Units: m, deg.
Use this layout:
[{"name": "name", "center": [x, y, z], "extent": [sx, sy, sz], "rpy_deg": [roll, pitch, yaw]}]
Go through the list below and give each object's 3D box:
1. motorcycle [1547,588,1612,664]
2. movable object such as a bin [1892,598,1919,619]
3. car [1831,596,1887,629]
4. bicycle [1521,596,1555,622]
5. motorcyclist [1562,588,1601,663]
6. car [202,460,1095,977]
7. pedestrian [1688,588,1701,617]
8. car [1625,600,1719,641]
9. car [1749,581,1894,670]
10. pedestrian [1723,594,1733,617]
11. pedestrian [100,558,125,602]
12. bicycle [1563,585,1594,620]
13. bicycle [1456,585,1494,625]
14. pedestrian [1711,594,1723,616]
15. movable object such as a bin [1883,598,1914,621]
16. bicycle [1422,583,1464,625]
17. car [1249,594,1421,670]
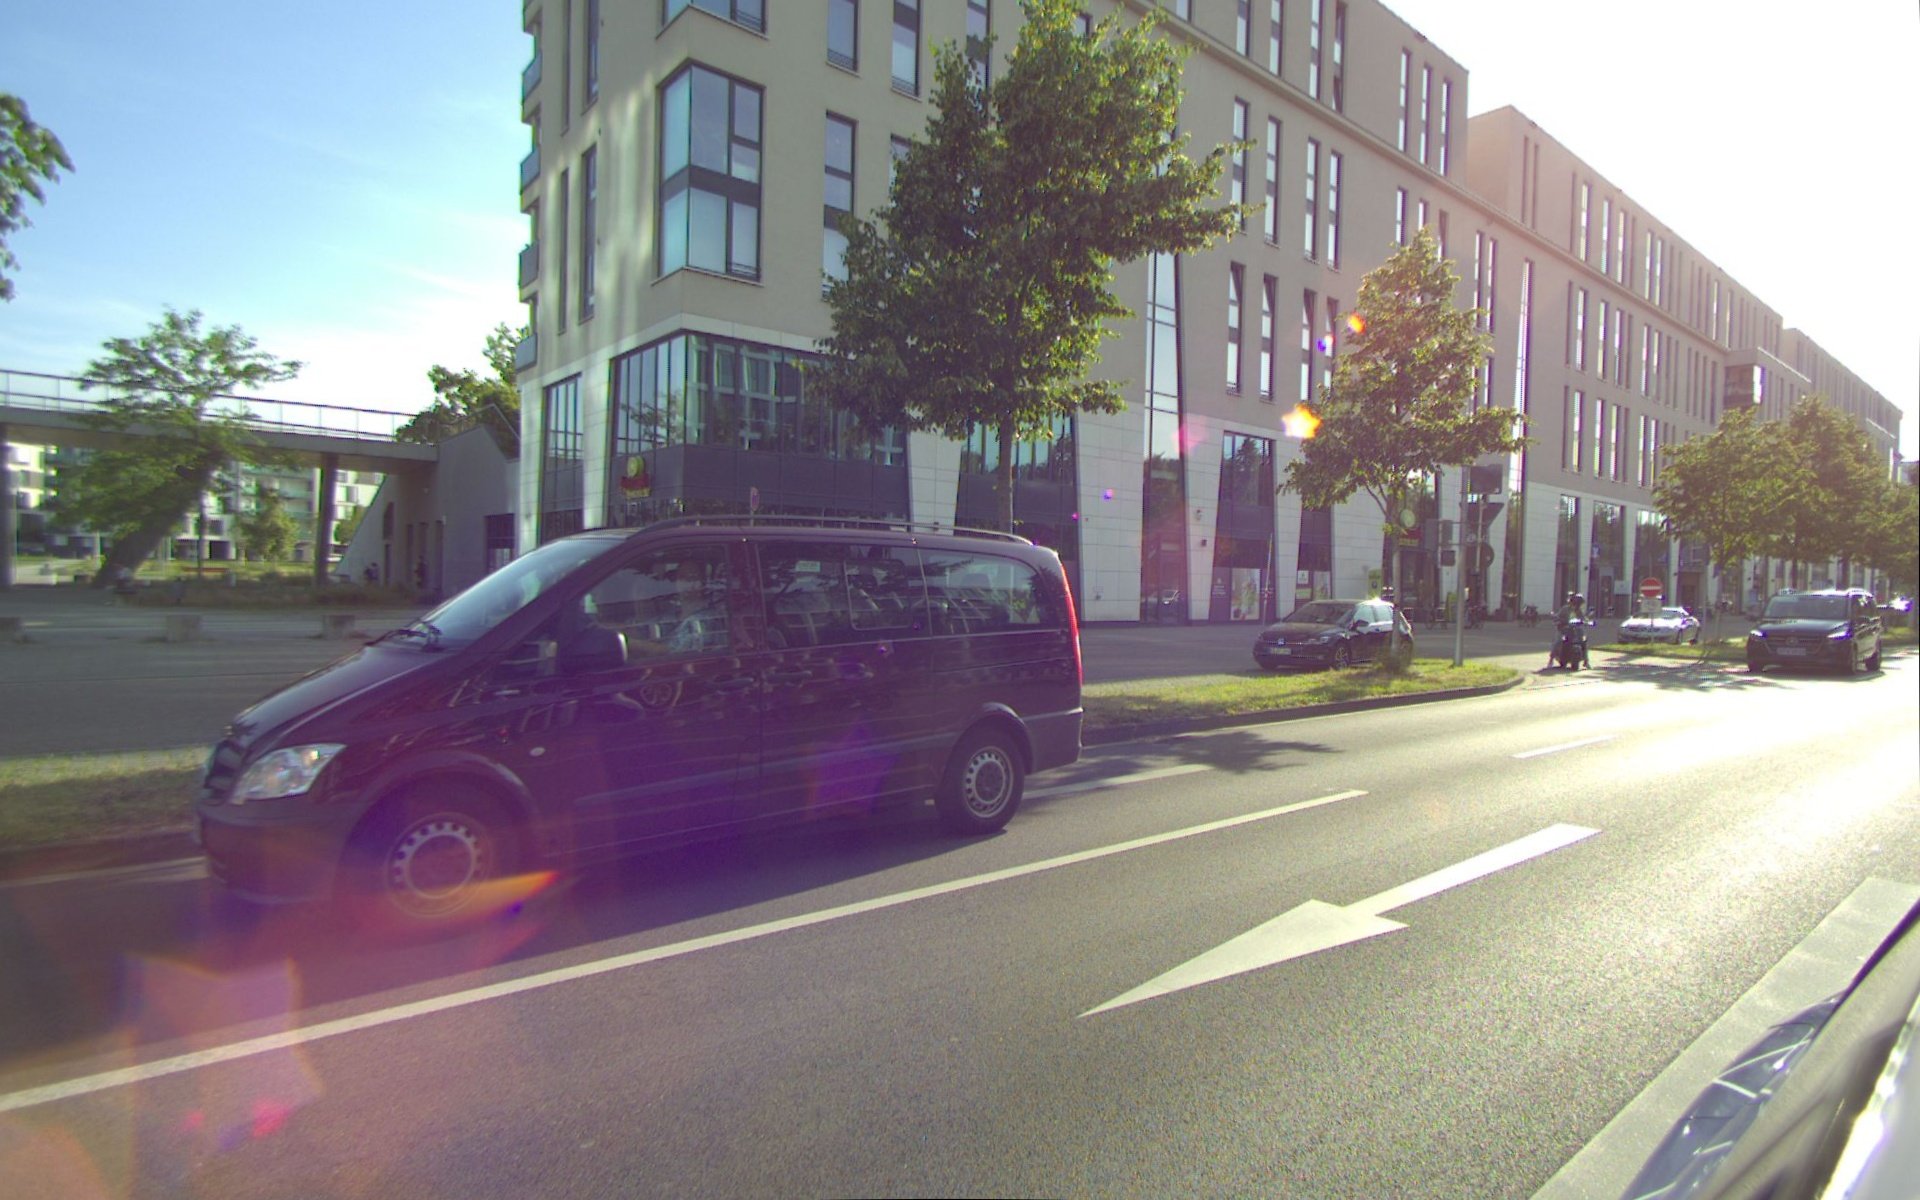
[{"name": "motorcycle", "center": [13.997, 0.544, 22.846], "extent": [1.977, 1.638, 0.702], "rpy_deg": [-1, 0, -42]}, {"name": "movable object such as a bin", "center": [57.796, 0.527, 61.764], "extent": [1.171, 1.252, 1.278], "rpy_deg": [0, 0, -43]}, {"name": "car", "center": [48.933, 0.640, 55.051], "extent": [4.222, 1.733, 1.830], "rpy_deg": [-1, 0, -42]}, {"name": "bicycle", "center": [25.730, 0.379, 45.041], "extent": [1.870, 1.097, 0.635], "rpy_deg": [0, 2, -39]}, {"name": "motorcyclist", "center": [14.062, 0.559, 22.895], "extent": [0.411, 1.660, 0.624], "rpy_deg": [0, 2, -43]}, {"name": "car", "center": [-1.472, 0.413, 5.977], "extent": [4.736, 1.915, 1.802], "rpy_deg": [-1, 0, -40]}, {"name": "pedestrian", "center": [45.861, 0.150, 63.196], "extent": [0.635, 1.785, 0.538], "rpy_deg": [0, 0, -39]}, {"name": "car", "center": [23.909, 0.656, 33.947], "extent": [3.837, 1.258, 1.711], "rpy_deg": [-1, 0, -41]}, {"name": "car", "center": [20.270, 0.510, 23.734], "extent": [4.694, 1.890, 1.863], "rpy_deg": [-1, 0, -40]}, {"name": "pedestrian", "center": [54.011, 0.361, 71.143], "extent": [0.536, 1.594, 0.508], "rpy_deg": [0, 0, 36]}, {"name": "pedestrian", "center": [-25.696, -0.599, 30.681], "extent": [0.571, 1.310, 0.597], "rpy_deg": [0, 0, -39]}, {"name": "bicycle", "center": [29.390, 0.113, 48.102], "extent": [2.173, 1.639, 0.556], "rpy_deg": [-1, 0, -39]}, {"name": "bicycle", "center": [20.895, 0.183, 41.063], "extent": [2.173, 1.587, 0.556], "rpy_deg": [-1, 0, -39]}, {"name": "pedestrian", "center": [53.509, 0.378, 71.542], "extent": [0.587, 1.541, 0.514], "rpy_deg": [0, 0, -40]}, {"name": "movable object such as a bin", "center": [55.751, 0.552, 60.141], "extent": [1.158, 1.307, 1.278], "rpy_deg": [0, 0, -43]}, {"name": "bicycle", "center": [18.786, 0.127, 39.364], "extent": [2.235, 1.590, 0.556], "rpy_deg": [-1, 0, -39]}, {"name": "car", "center": [7.709, 0.577, 20.620], "extent": [4.087, 1.388, 1.608], "rpy_deg": [-1, 0, -43]}]
